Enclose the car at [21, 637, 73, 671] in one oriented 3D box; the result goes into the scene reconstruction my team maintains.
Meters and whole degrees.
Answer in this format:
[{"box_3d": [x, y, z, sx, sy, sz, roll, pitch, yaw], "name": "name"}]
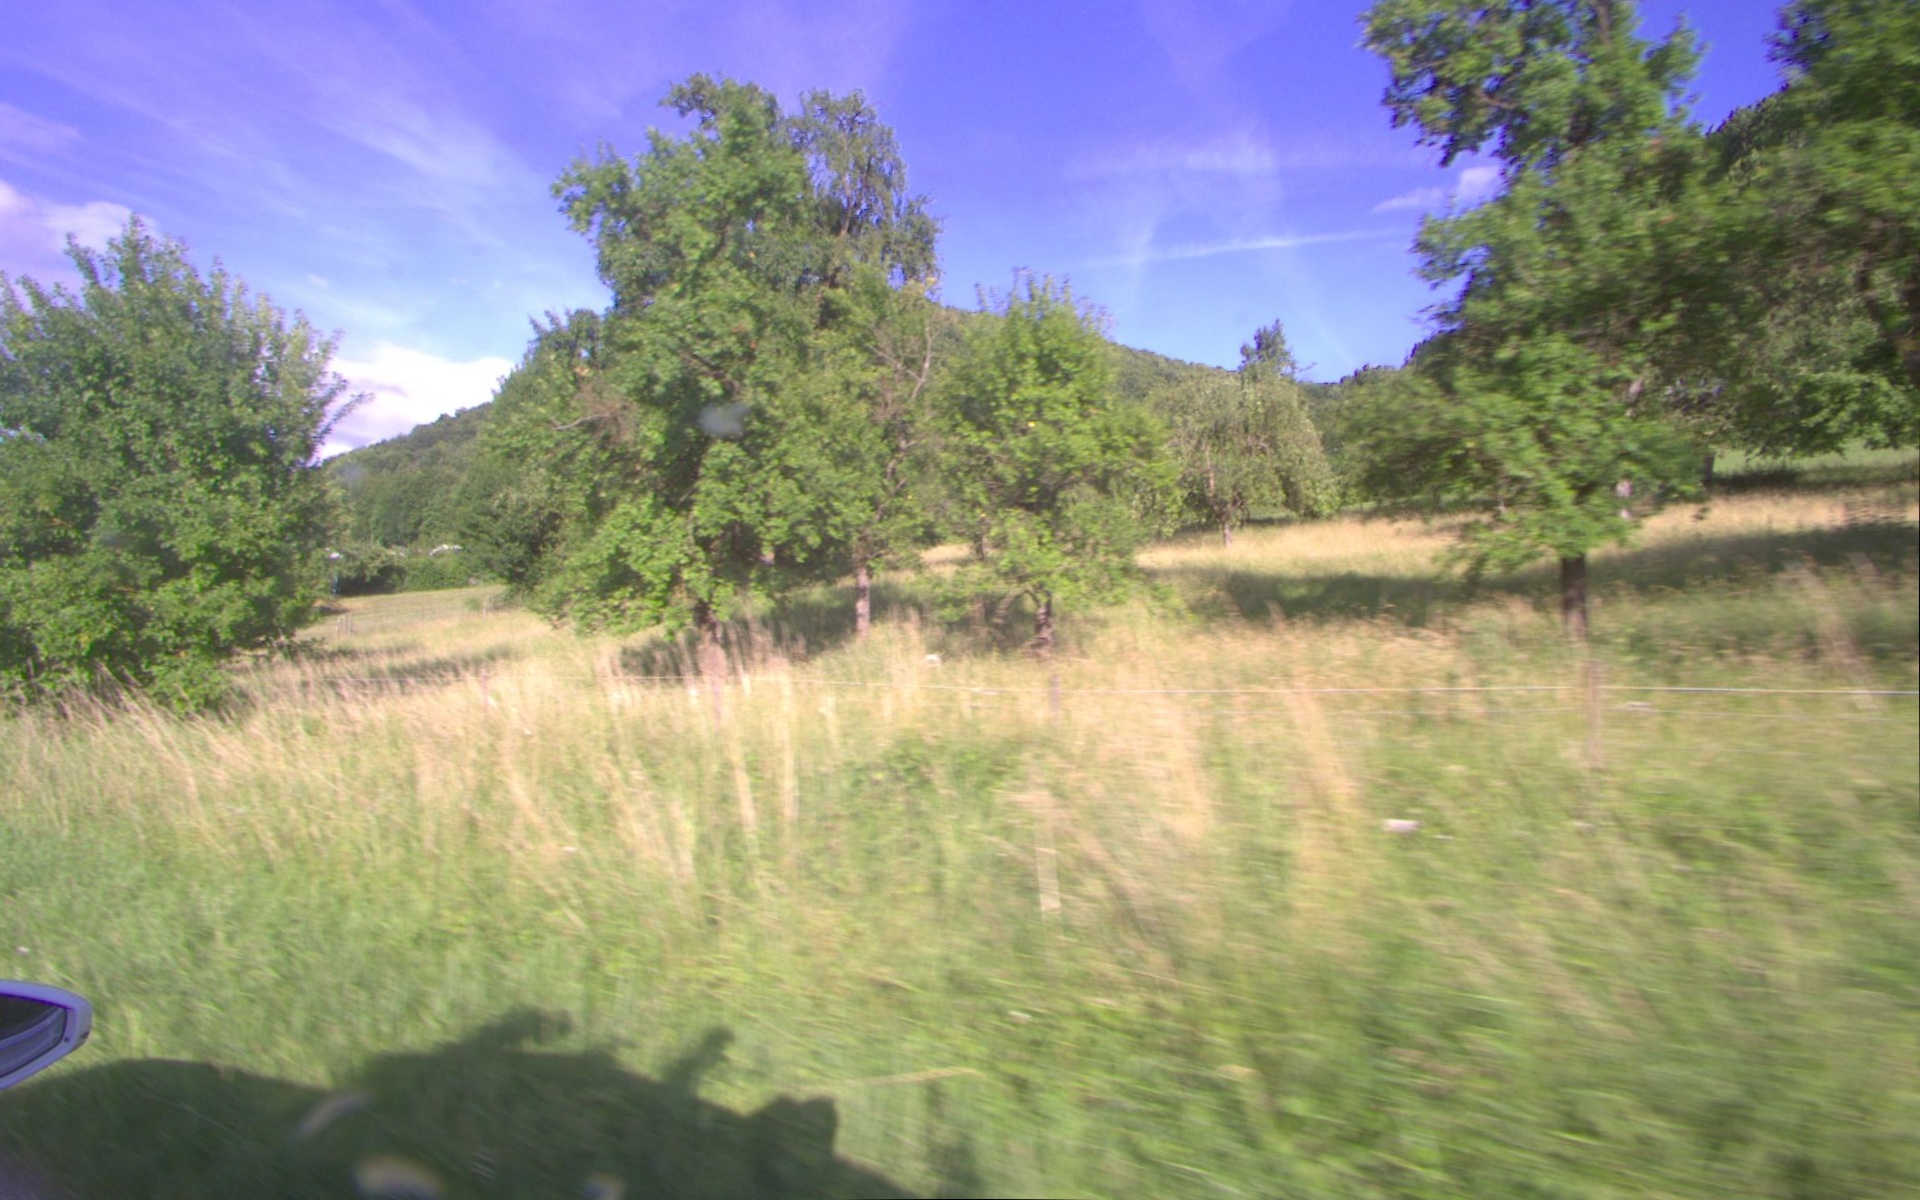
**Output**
[{"box_3d": [-40.189, 2.349, 44.088, 1.612, 1.407, 3.964, 1, -3, -43], "name": "car"}]
